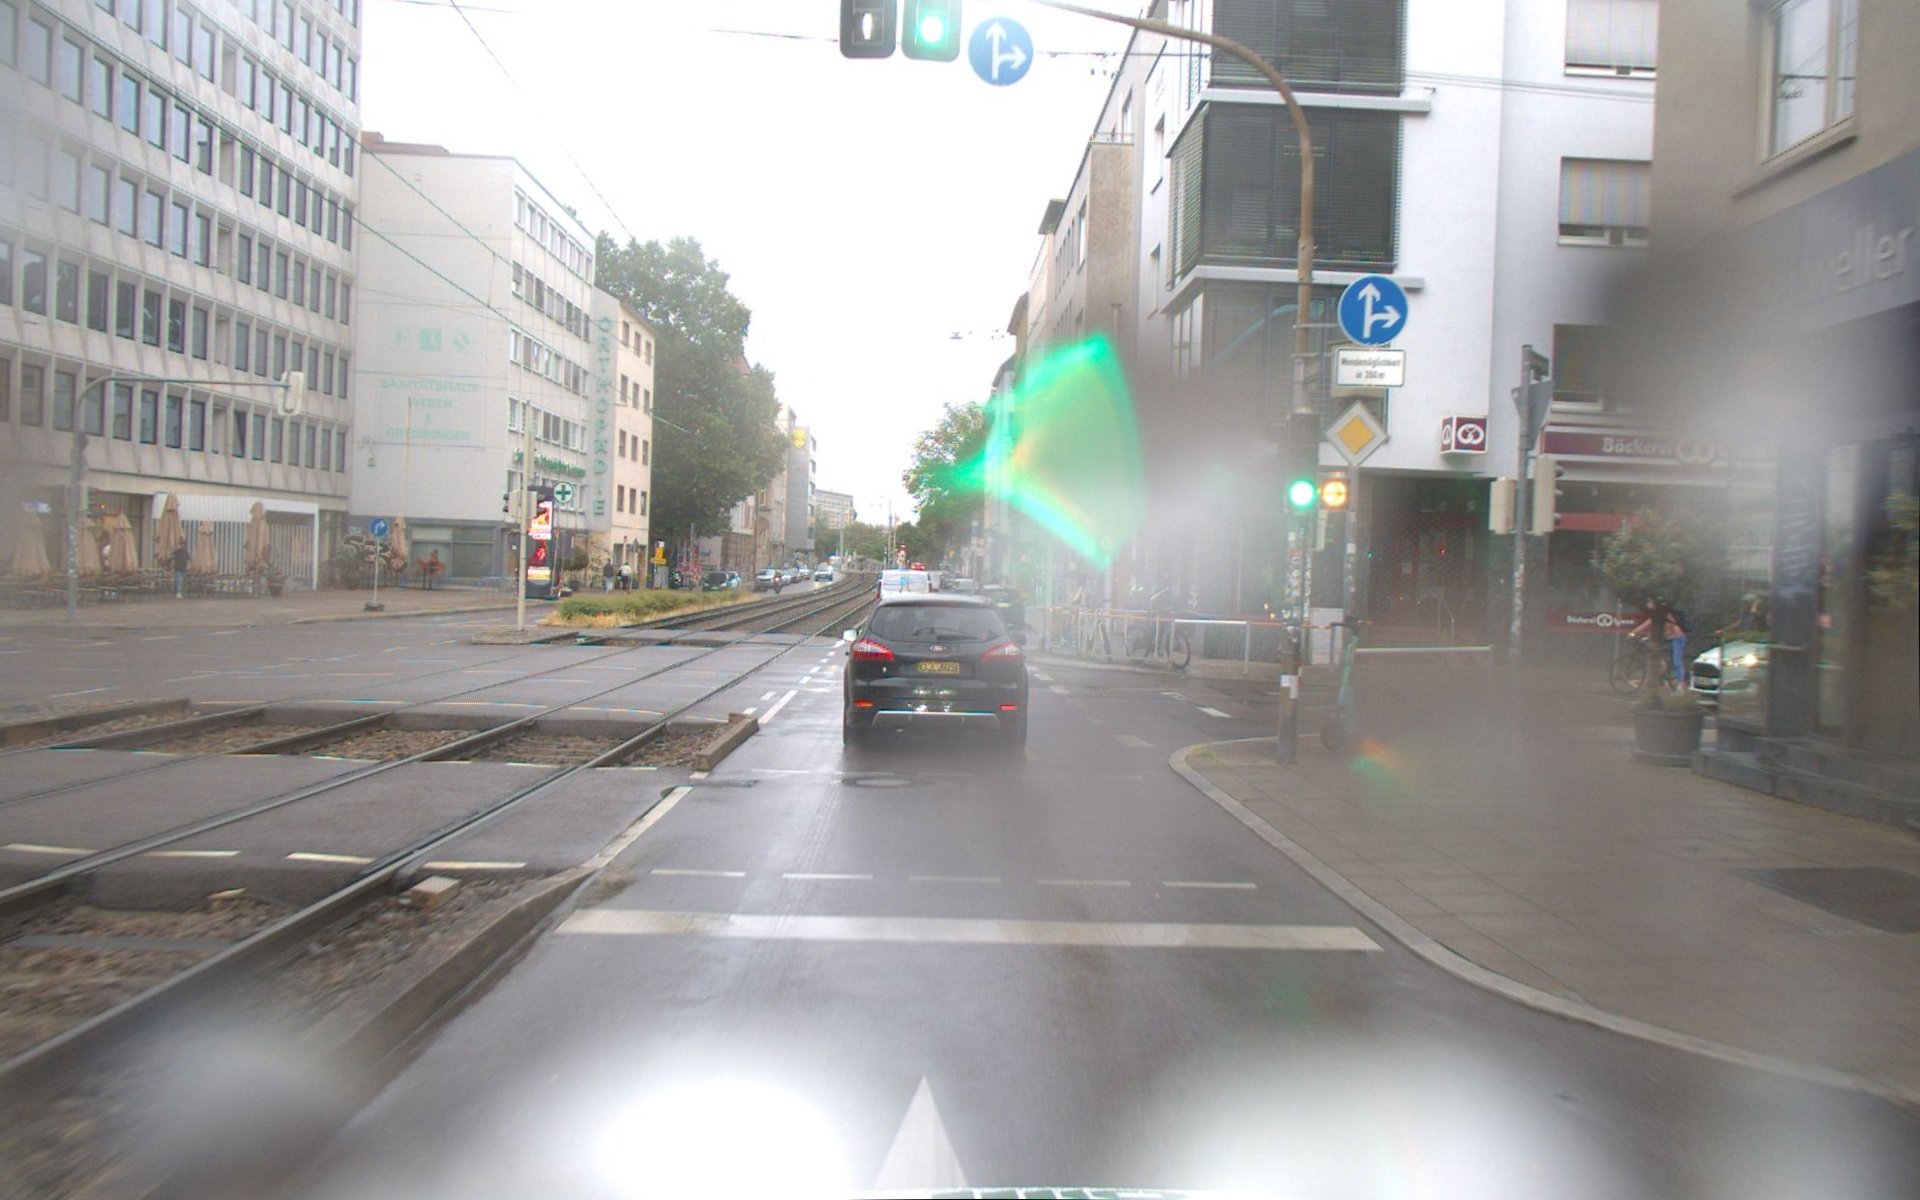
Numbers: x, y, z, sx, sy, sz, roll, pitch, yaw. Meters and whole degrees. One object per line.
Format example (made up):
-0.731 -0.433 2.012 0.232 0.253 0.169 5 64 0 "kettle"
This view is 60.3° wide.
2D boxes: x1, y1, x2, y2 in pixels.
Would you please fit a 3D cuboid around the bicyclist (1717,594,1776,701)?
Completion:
13.739 0.815 28.911 0.621 1.822 0.756 1 0 -3 "bicyclist"

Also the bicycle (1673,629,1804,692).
13.581 1.047 28.895 1.940 1.028 0.755 1 0 -4 "bicycle"

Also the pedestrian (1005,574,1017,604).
3.567 -0.769 114.804 0.721 2.048 0.821 2 1 -2 "pedestrian"

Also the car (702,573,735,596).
-16.233 -1.054 111.431 1.708 1.494 4.219 0 1 -2 "car"

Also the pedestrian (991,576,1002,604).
2.527 -0.691 114.652 0.648 1.884 0.821 2 1 -2 "pedestrian"

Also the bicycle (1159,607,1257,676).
4.619 0.762 30.899 0.572 1.177 1.930 2 0 -37 "bicycle"

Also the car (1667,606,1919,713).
13.087 0.889 25.208 3.887 1.513 1.721 1 0 -3 "car"

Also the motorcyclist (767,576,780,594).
-13.372 -1.073 118.679 0.726 1.239 0.970 2 0 0 "motorcyclist"

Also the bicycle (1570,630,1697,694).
11.614 1.066 28.557 1.887 1.028 0.755 1 0 -4 "bicycle"

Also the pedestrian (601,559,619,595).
-18.898 -1.244 89.405 0.712 1.929 0.982 2 0 -2 "pedestrian"

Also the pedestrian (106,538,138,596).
-25.986 -1.029 51.294 0.553 1.779 0.843 2 1 -6 "pedestrian"

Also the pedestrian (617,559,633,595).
-18.077 -1.231 89.273 0.665 1.929 0.742 2 0 -2 "pedestrian"

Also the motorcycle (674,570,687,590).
-20.632 -1.480 122.019 0.626 1.403 2.119 2 1 -3 "motorcycle"

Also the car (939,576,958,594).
-1.126 -1.445 157.001 1.610 1.542 4.038 2 2 -2 "car"

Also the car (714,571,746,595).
-16.183 -1.208 116.379 1.687 1.597 4.219 2 1 -2 "car"

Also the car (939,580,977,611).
-0.116 -0.245 89.527 1.953 1.621 4.571 1 0 -1 "car"

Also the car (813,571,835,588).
-14.596 -2.192 177.794 1.953 1.545 4.442 2 -1 -1 "car"

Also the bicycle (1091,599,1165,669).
3.310 0.656 32.730 0.491 1.280 1.941 2 0 -26 "bicycle"

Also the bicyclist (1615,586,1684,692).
11.902 0.662 28.562 0.823 1.777 0.756 1 0 -3 "bicyclist"

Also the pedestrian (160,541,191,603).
-24.049 -0.858 50.714 0.553 1.854 0.843 2 1 -6 "pedestrian"

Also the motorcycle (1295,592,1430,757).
3.791 0.677 15.567 1.121 1.487 0.675 1 0 -38 "motorcycle"

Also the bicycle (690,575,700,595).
-17.382 -0.982 108.574 0.580 1.248 2.399 2 0 -8 "bicycle"

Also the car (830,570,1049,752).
-0.220 0.545 17.090 1.953 1.621 4.270 1 0 -1 "car"

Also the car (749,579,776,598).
-17.253 -1.044 144.714 1.953 1.545 4.434 2 1 -2 "car"

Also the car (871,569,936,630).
-1.763 -0.029 52.807 1.953 1.848 4.270 1 0 -1 "car"

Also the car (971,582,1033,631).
1.438 0.217 58.105 1.953 1.621 4.270 1 0 -1 "car"

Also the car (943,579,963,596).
-0.646 -1.162 152.250 1.704 1.515 3.999 2 2 -2 "car"

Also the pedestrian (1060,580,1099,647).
2.922 0.319 40.448 0.650 1.610 0.774 1 0 -23 "pedestrian"
